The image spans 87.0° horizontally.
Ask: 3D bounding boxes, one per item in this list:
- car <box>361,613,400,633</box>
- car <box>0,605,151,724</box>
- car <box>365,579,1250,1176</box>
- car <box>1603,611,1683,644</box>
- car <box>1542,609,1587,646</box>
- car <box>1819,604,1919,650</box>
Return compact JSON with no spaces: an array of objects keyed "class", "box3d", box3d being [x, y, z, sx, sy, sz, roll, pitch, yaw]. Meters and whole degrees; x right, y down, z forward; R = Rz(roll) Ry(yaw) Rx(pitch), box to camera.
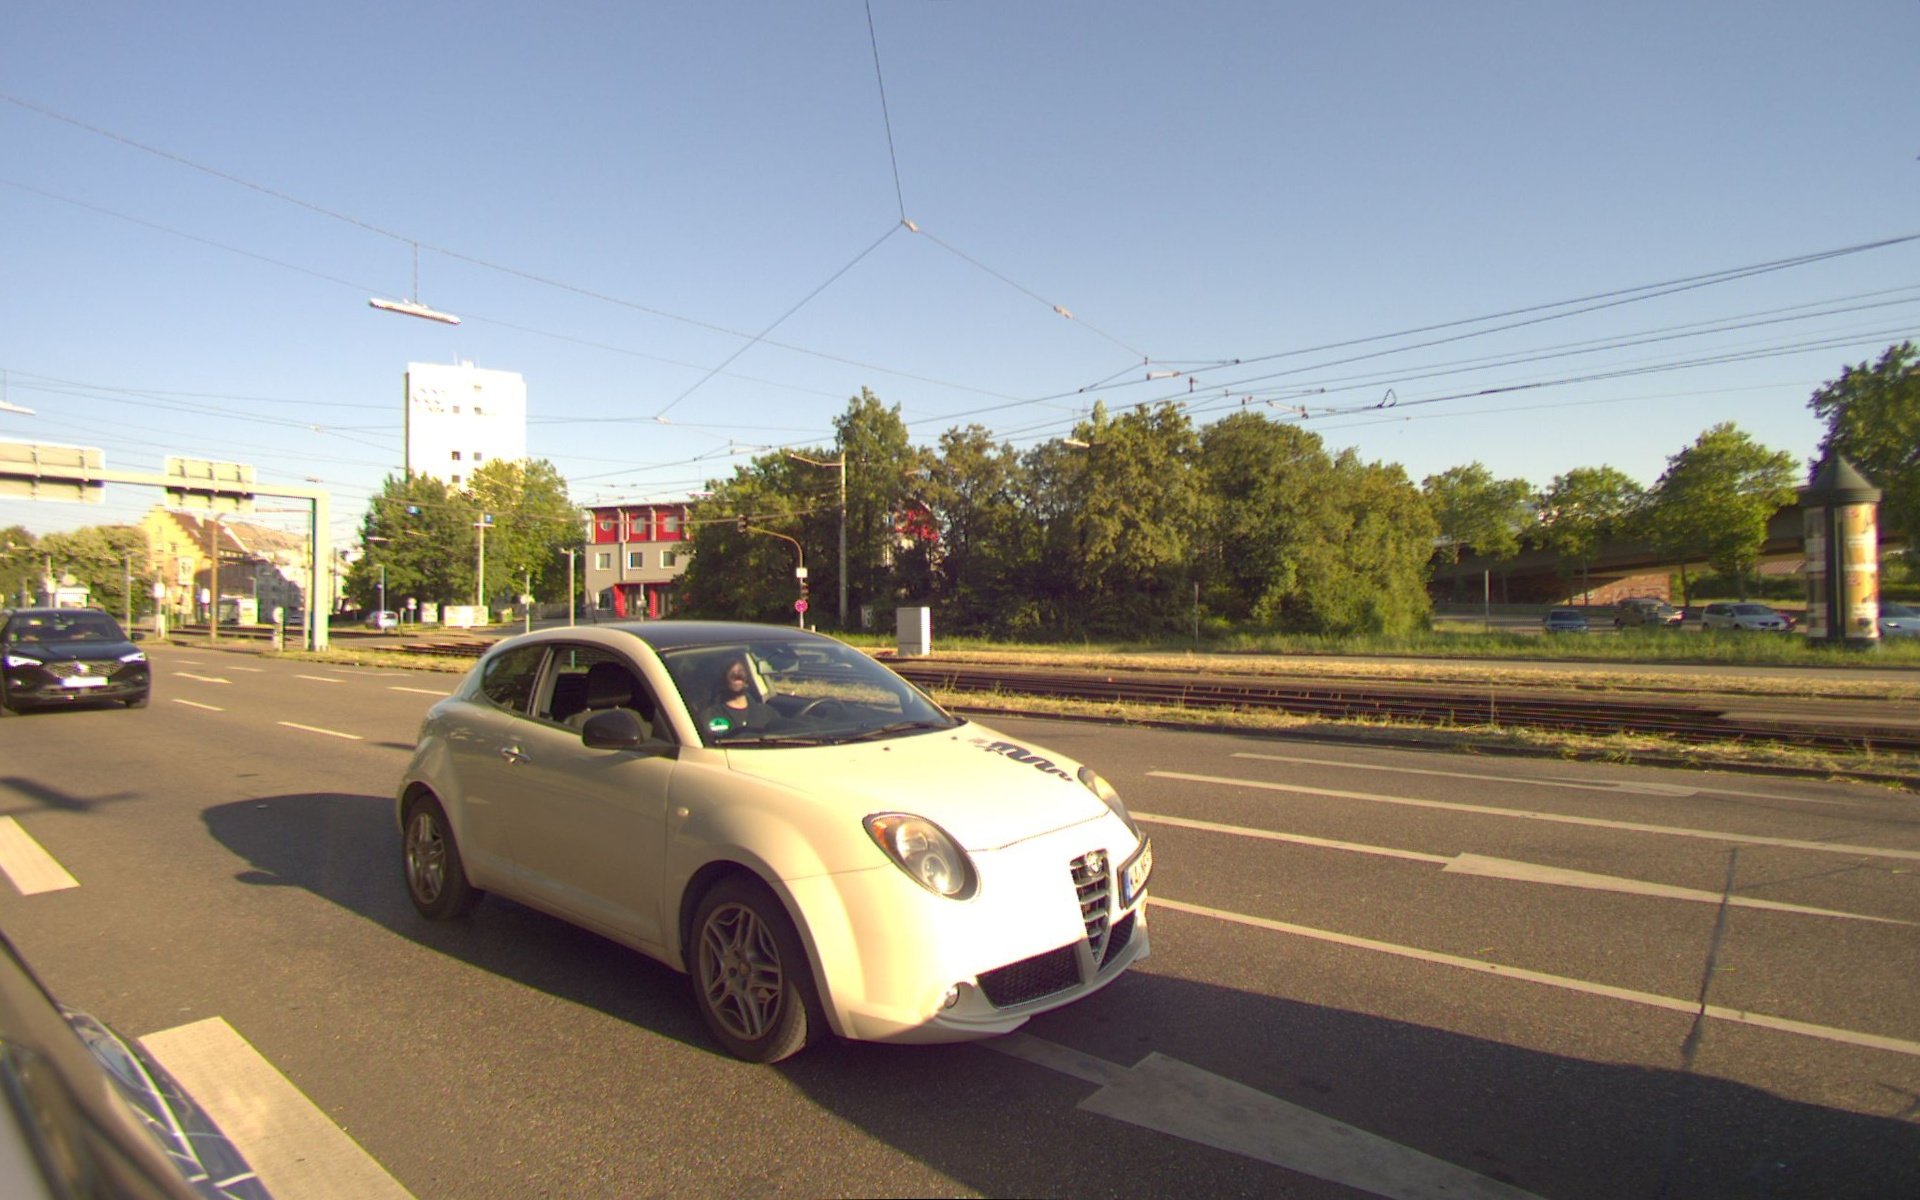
[{"class":"car","box3d":[-52.675,2.114,92.036,4.259,1.801,1.912,-2,-2,43]},{"class":"car","box3d":[-14.993,0.951,16.723,4.623,1.692,1.794,0,-1,42]},{"class":"car","box3d":[-0.960,0.770,4.546,3.997,1.517,1.719,-2,-2,40]},{"class":"car","box3d":[37.800,1.492,56.137,1.672,1.691,4.408,-1,-1,4]},{"class":"car","box3d":[29.491,1.324,49.315,1.749,1.691,4.703,-1,-1,33]},{"class":"car","box3d":[34.463,0.948,37.603,1.675,1.586,4.752,-1,-1,10]}]
